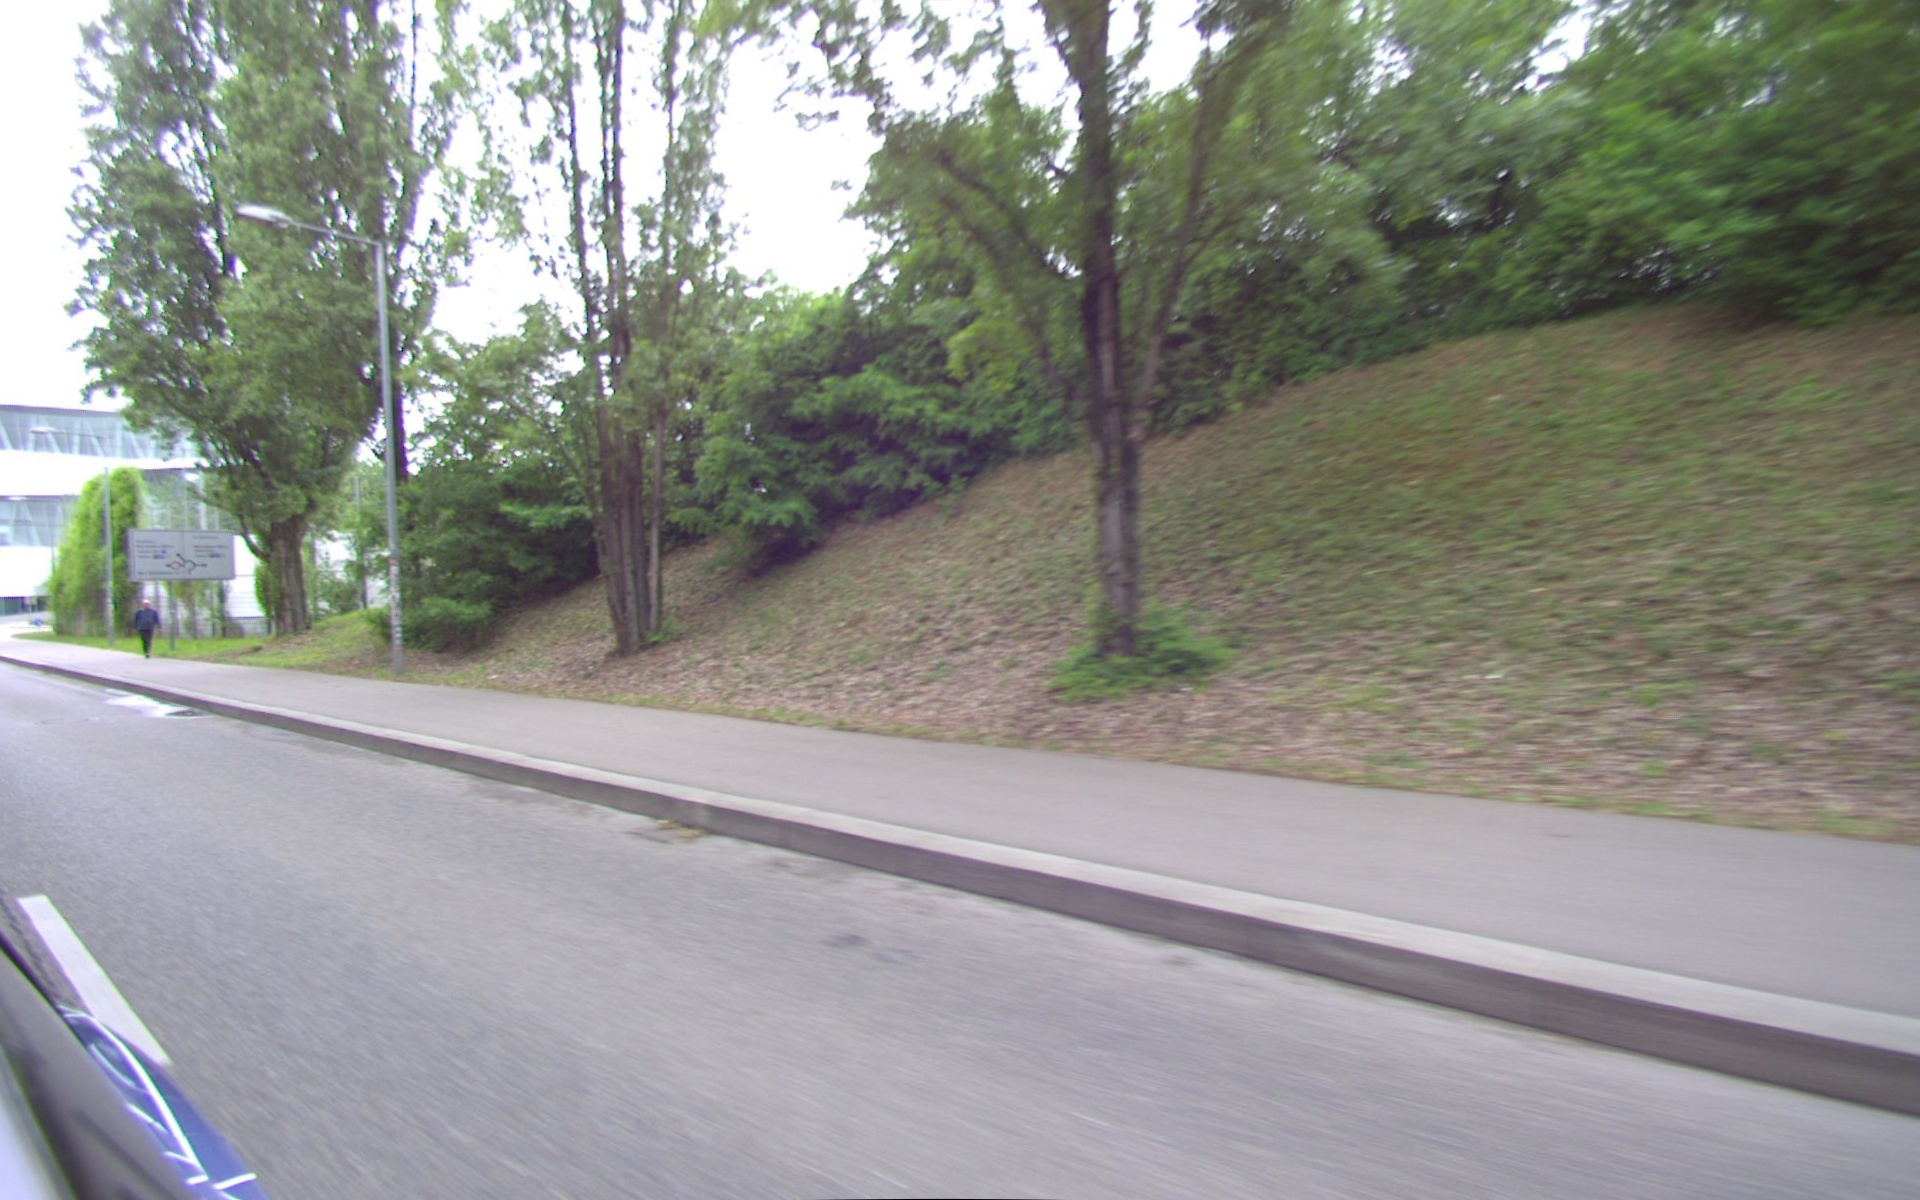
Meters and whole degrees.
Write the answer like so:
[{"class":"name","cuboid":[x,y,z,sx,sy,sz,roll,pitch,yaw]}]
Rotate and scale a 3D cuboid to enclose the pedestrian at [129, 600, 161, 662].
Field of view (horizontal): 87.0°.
[{"class":"pedestrian","cuboid":[-25.520,0.959,31.682,0.736,1.908,0.654,-1,0,41]}]
